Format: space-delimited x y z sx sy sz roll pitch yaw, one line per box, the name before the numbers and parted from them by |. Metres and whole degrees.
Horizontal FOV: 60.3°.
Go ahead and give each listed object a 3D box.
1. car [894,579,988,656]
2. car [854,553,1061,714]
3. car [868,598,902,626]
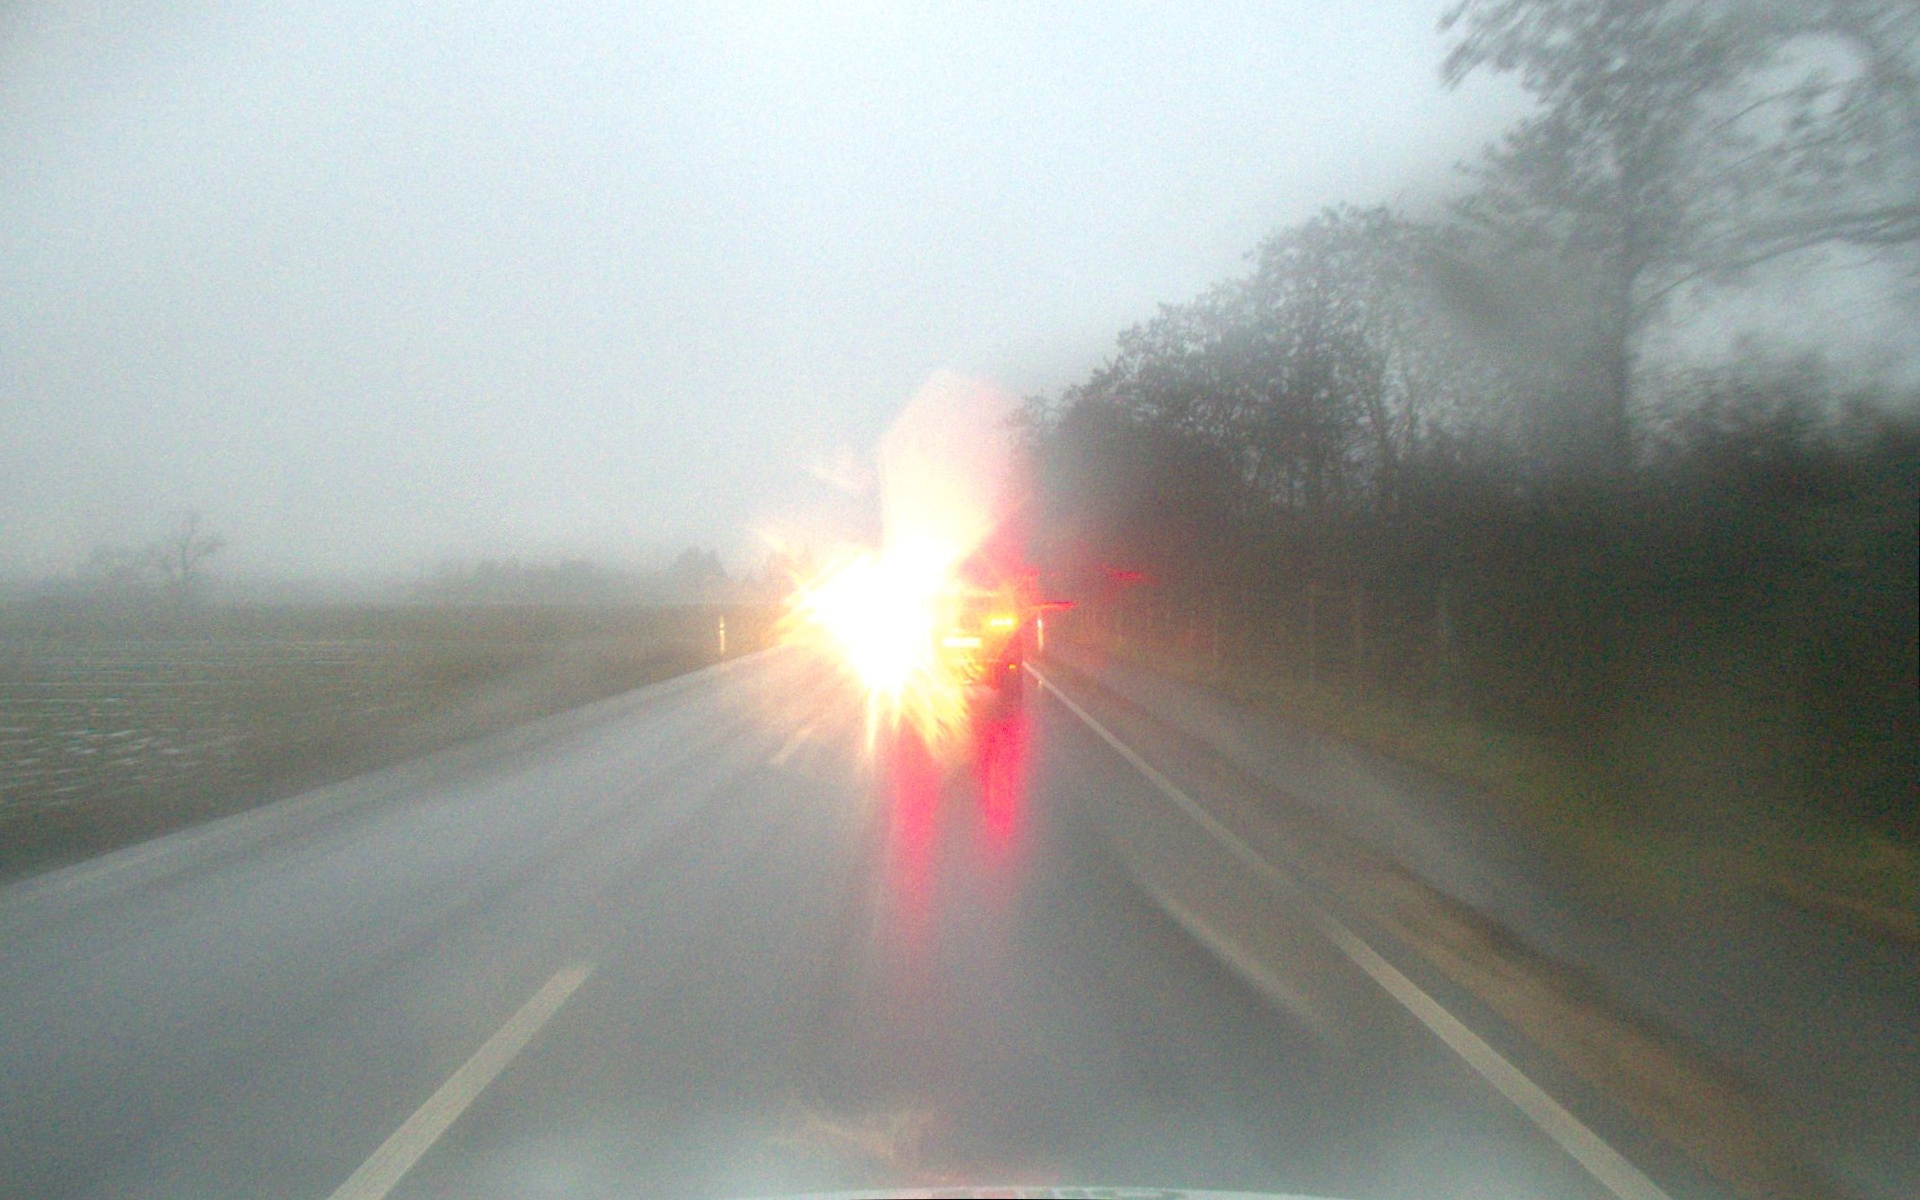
car | -0.506 0.488 47.975 2.539 2.049 5.804 1 0 0
car | -0.026 0.463 25.290 2.762 2.113 5.804 1 0 0
car | -4.107 0.632 91.152 1.693 1.438 4.022 -3 0 -1
